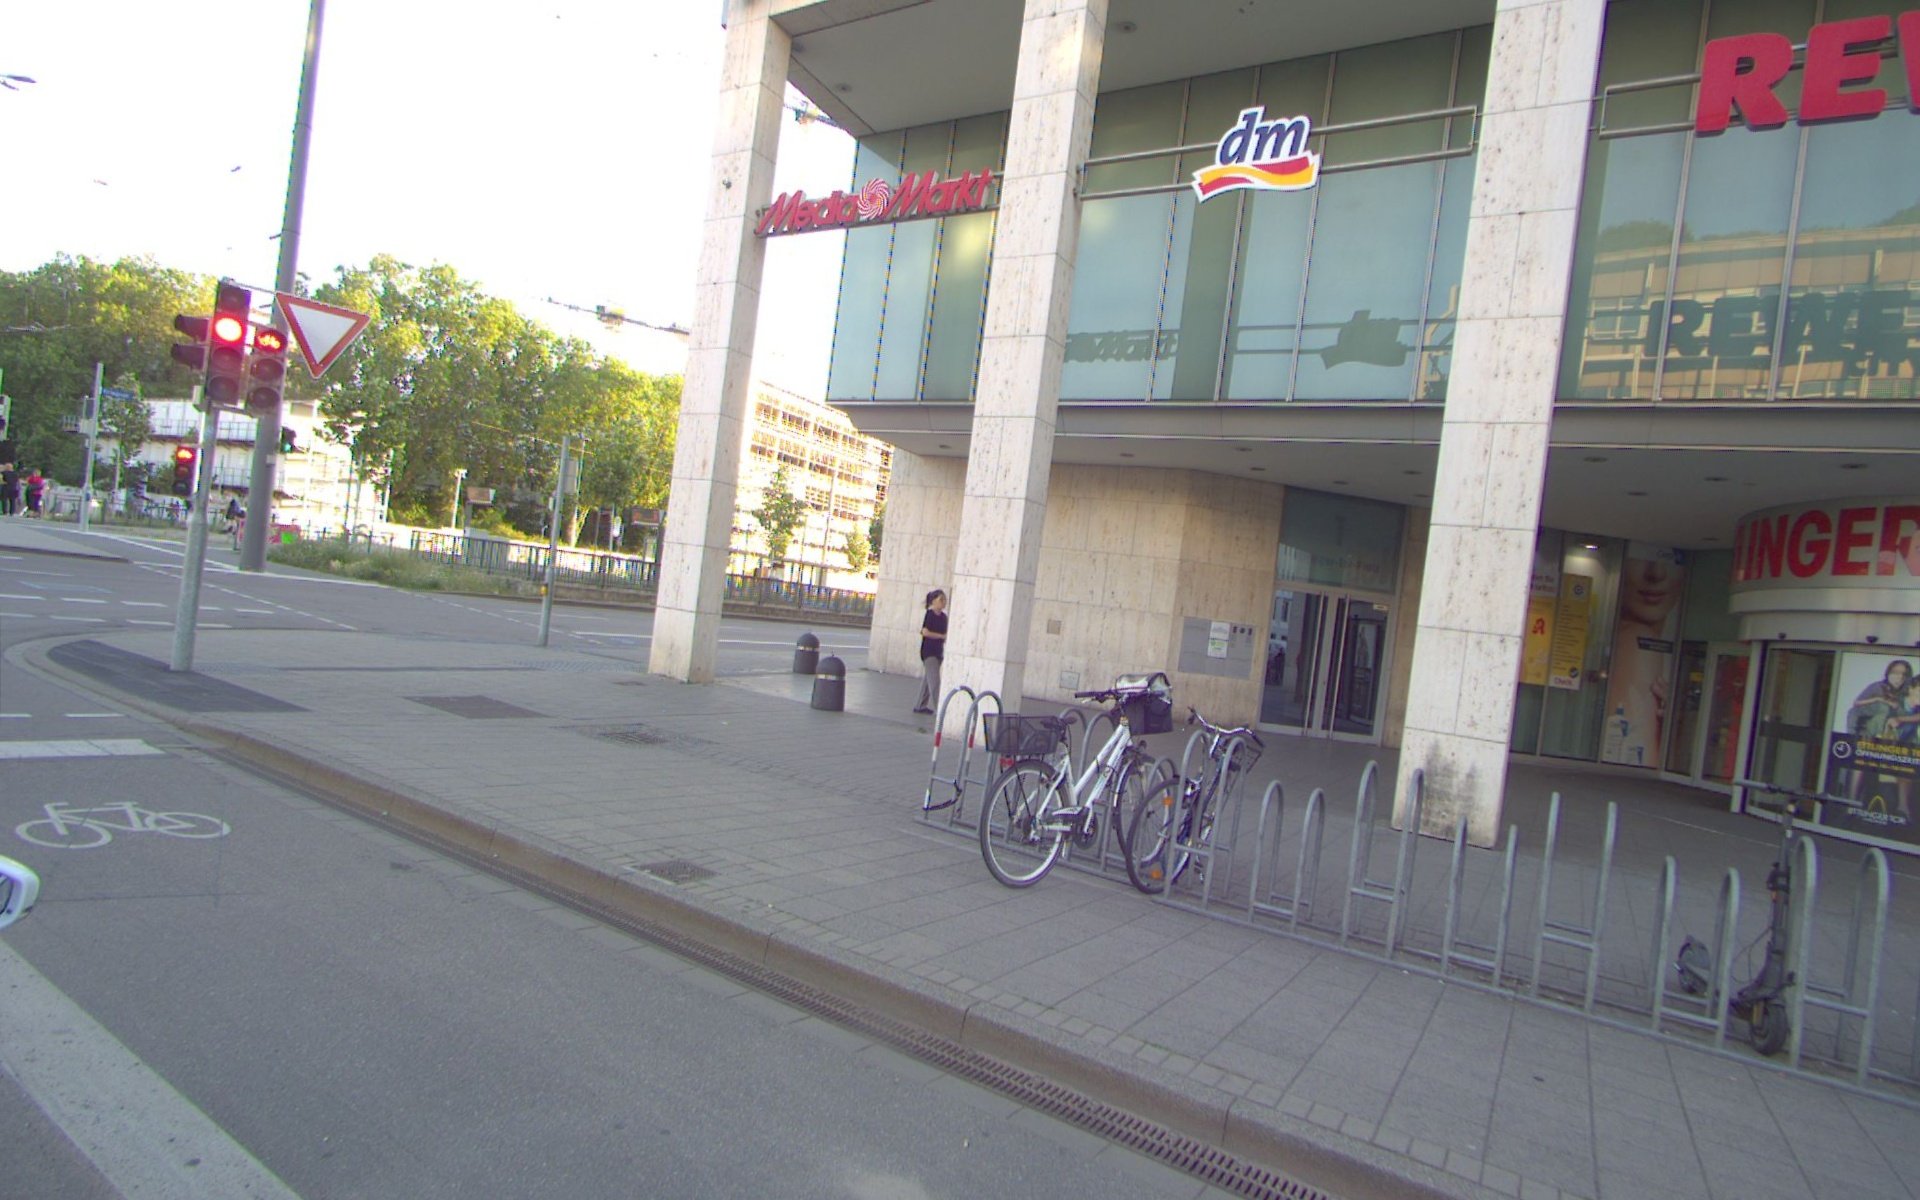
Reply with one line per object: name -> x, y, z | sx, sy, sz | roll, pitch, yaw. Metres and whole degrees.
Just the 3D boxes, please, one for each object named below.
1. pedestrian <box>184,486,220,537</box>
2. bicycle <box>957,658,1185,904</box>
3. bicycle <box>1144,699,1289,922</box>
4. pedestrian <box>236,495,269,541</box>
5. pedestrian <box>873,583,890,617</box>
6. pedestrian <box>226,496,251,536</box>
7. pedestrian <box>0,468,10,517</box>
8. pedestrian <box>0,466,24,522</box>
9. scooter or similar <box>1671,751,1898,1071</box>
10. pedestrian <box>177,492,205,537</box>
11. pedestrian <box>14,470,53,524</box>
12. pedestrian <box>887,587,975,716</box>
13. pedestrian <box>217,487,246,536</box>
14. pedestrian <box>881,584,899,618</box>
pedestrian -> -28.496, -3.315, 37.838 | 0.656, 1.746, 0.712 | 7, 1, -3
bicycle -> 0.701, 1.000, 5.927 | 0.540, 1.198, 1.479 | 8, 1, 36
bicycle -> 1.675, 1.234, 6.375 | 0.474, 1.092, 1.773 | 8, 0, 24
pedestrian -> -28.682, -3.324, 40.788 | 0.700, 1.746, 0.667 | 8, 1, 26
pedestrian -> -4.851, 0.008, 62.326 | 0.559, 2.039, 0.575 | 8, 1, 29
pedestrian -> -28.106, -3.259, 39.180 | 0.672, 1.459, 0.707 | 6, 1, -36
pedestrian -> -33.979, -3.827, 35.460 | 0.570, 1.699, 0.631 | 7, 1, -44
pedestrian -> -32.802, -3.649, 34.538 | 0.803, 1.814, 0.790 | 7, 1, -44
scooter or similar -> 3.988, 1.432, 4.958 | 0.484, 1.214, 1.196 | 8, 1, 27
pedestrian -> -29.485, -3.283, 38.559 | 0.527, 1.612, 0.571 | 8, 1, 32
pedestrian -> -32.681, -3.642, 35.493 | 0.696, 1.756, 0.843 | 8, 1, 44
pedestrian -> -0.395, 0.713, 13.888 | 0.696, 1.659, 0.791 | 8, 1, 32
pedestrian -> -27.815, -3.385, 38.426 | 0.708, 1.746, 0.660 | 7, 1, -41
pedestrian -> -4.331, 0.057, 62.023 | 0.631, 2.039, 0.626 | 8, 1, 28
